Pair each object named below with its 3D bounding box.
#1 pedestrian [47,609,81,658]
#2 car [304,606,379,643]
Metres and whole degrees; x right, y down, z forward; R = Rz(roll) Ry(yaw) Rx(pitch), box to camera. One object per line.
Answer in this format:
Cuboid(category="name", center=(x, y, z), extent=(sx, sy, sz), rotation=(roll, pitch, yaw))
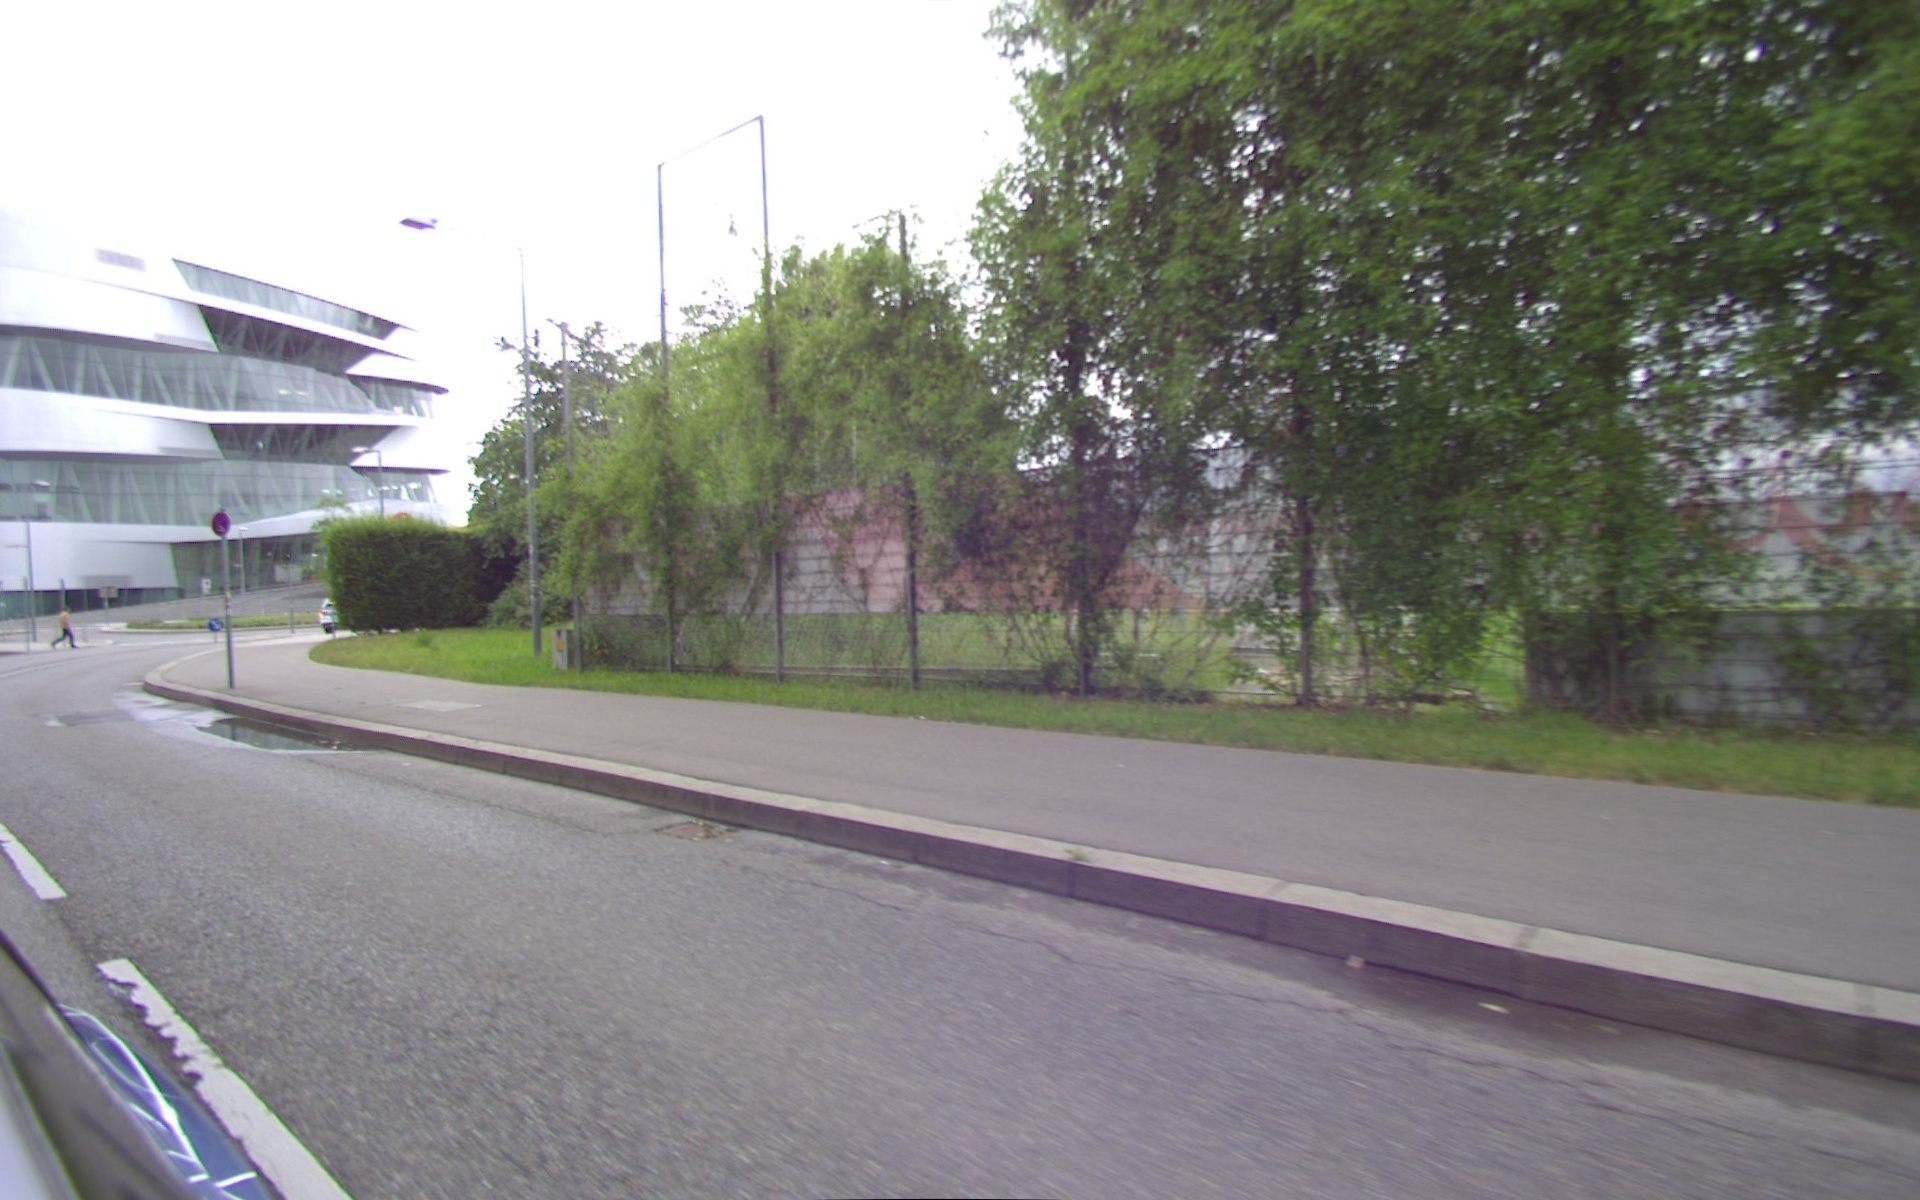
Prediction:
Cuboid(category="pedestrian", center=(-38.410, 1.436, 43.386), extent=(0.785, 2.029, 1.024), rotation=(-3, -1, 45))
Cuboid(category="car", center=(-30.721, 1.210, 50.406), extent=(1.839, 1.696, 4.416), rotation=(-3, -1, -13))
